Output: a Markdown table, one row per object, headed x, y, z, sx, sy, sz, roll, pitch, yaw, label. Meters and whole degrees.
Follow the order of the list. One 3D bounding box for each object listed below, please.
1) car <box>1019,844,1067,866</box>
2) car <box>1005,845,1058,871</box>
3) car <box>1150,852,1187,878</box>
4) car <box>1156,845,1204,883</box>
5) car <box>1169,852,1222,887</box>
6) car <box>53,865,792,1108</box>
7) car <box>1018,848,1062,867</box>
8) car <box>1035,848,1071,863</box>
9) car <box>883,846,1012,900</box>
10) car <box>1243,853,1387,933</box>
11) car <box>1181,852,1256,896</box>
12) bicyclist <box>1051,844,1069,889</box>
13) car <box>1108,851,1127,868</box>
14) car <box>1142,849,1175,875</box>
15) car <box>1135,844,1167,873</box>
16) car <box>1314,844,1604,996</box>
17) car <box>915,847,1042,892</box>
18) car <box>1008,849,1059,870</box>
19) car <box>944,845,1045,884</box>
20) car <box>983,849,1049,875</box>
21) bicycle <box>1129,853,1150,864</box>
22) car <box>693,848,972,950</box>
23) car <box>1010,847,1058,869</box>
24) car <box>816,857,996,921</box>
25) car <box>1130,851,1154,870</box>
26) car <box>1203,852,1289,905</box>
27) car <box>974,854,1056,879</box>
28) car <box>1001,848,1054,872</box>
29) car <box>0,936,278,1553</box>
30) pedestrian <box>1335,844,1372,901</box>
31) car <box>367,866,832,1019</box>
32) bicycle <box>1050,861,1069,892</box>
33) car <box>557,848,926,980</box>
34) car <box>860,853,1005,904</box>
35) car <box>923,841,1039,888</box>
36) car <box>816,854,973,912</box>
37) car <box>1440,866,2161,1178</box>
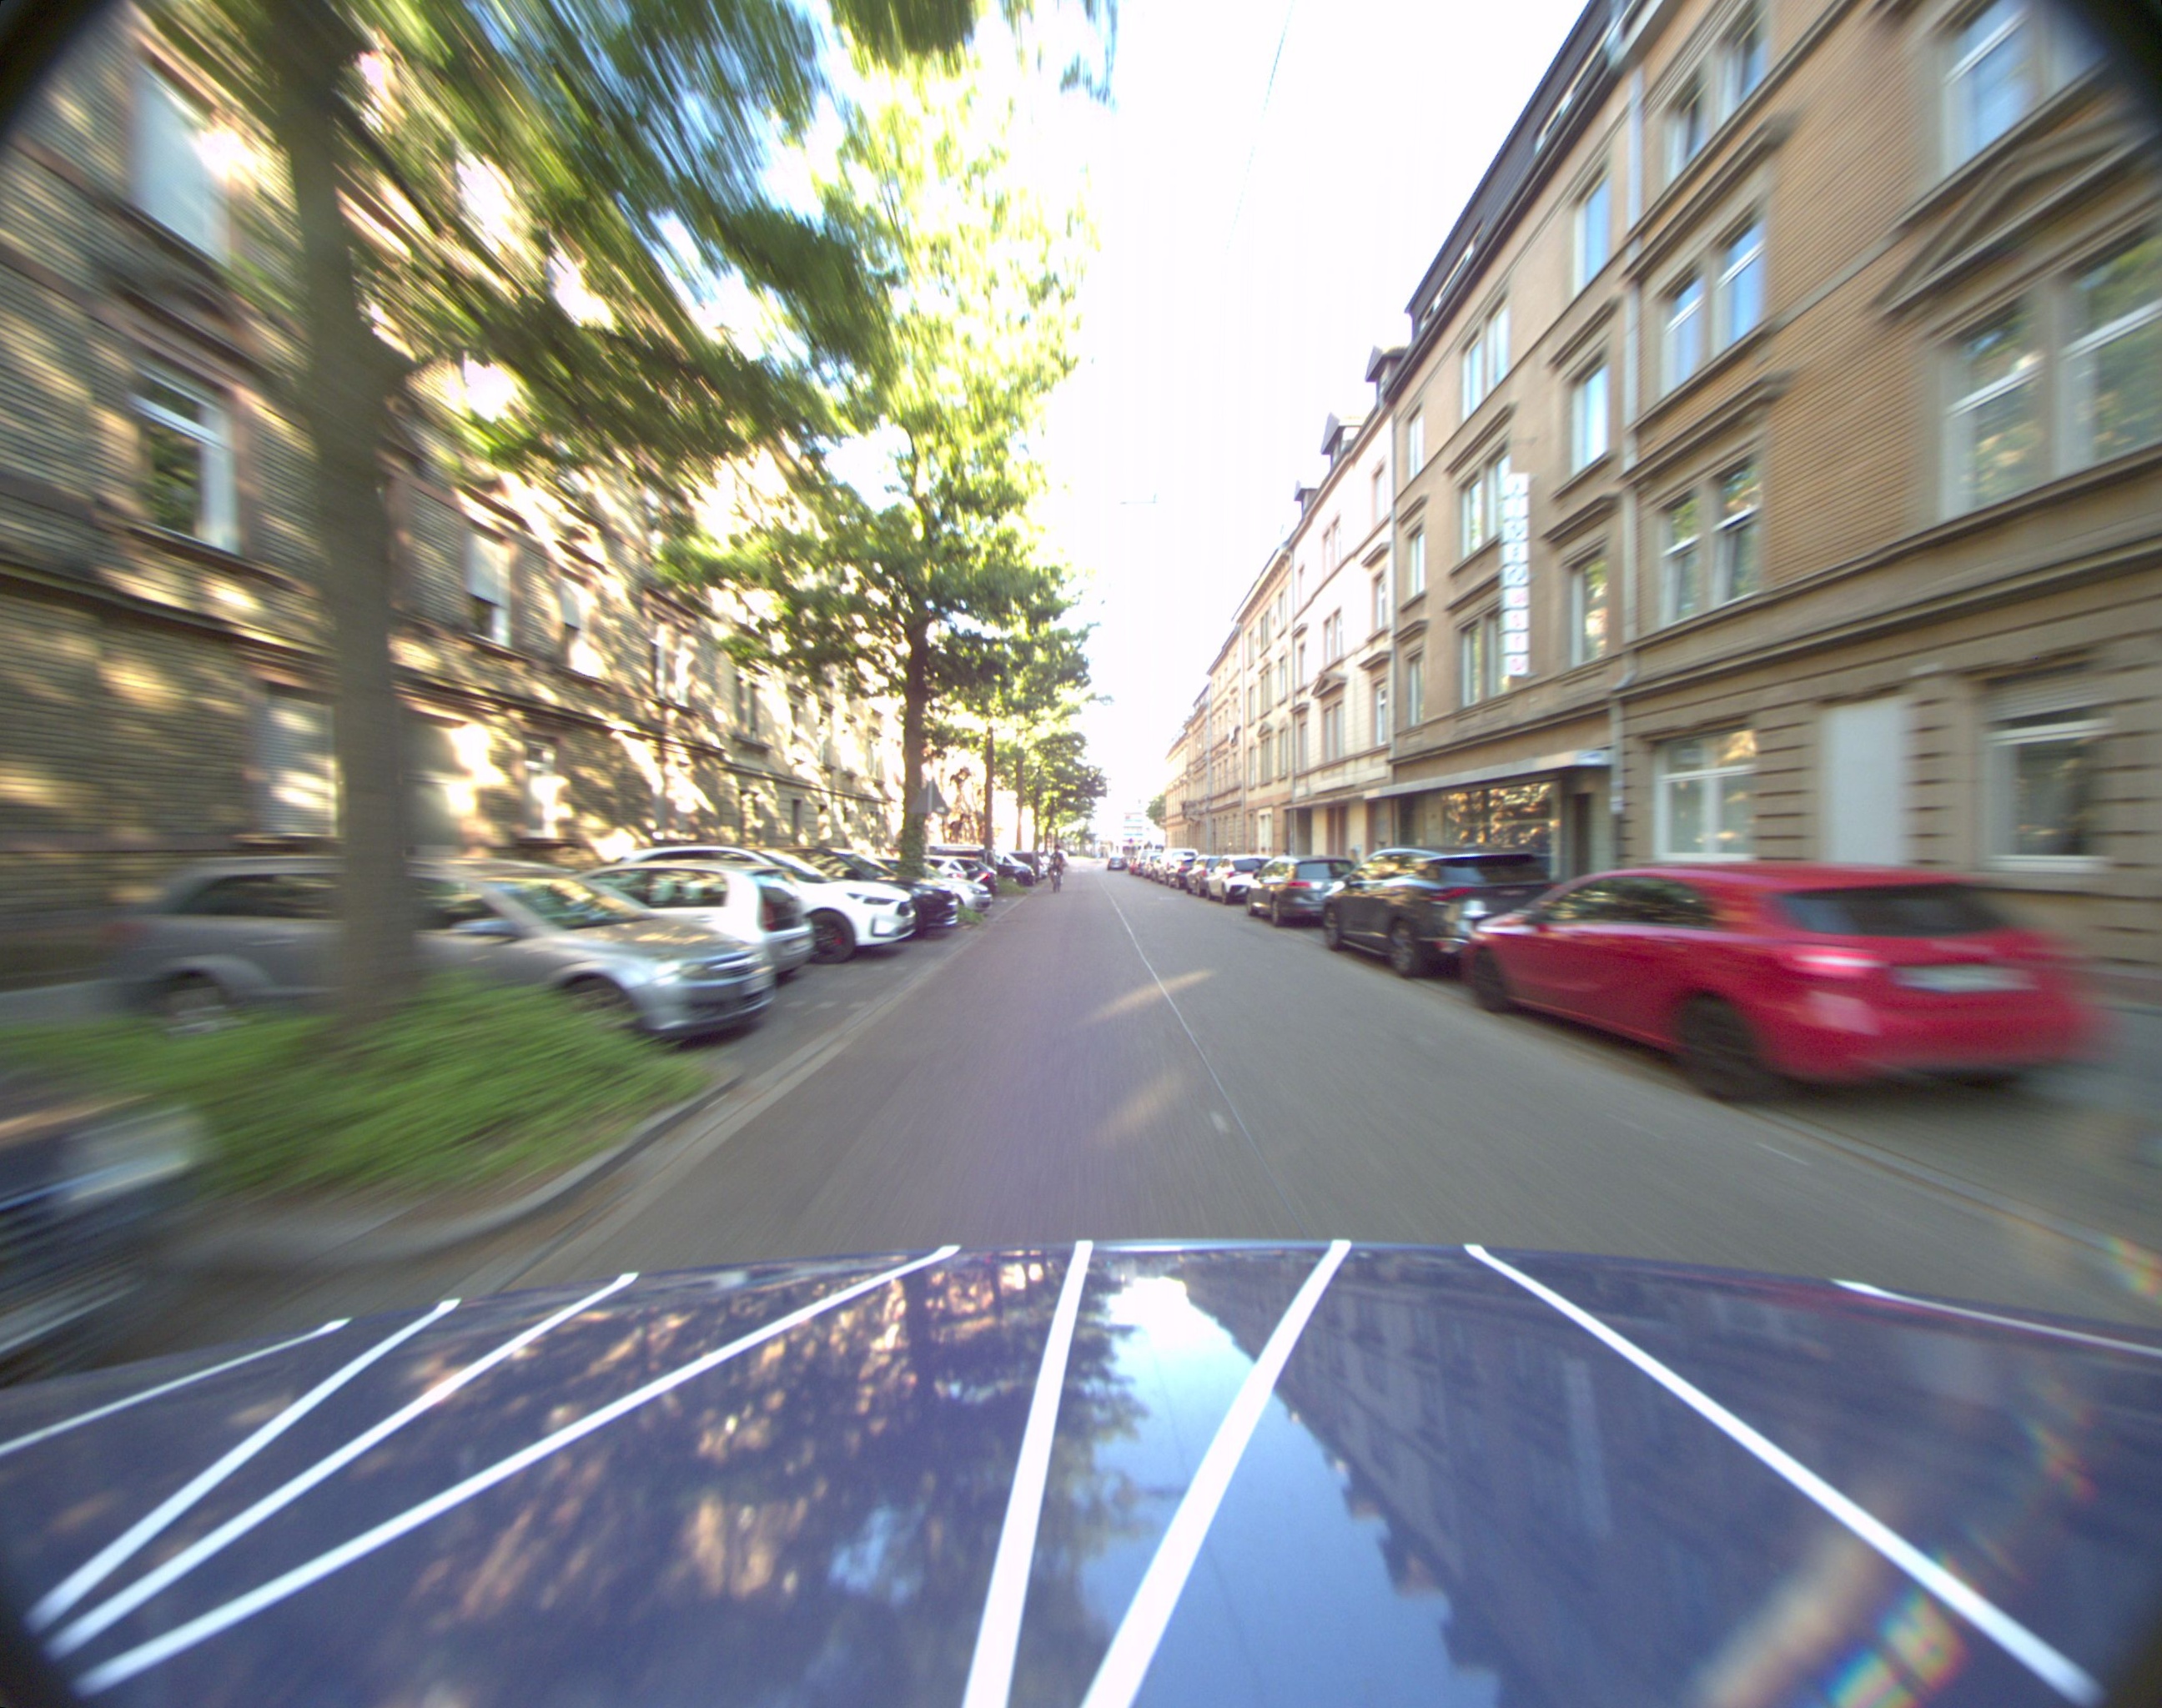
| x | y | z | sx | sy | sz | roll | pitch | yaw | label |
| --- | --- | --- | --- | --- | --- | --- | --- | --- | --- |
| -3.914 | 0.094 | 78.750 | 4.699 | 1.966 | 1.925 | 4 | 1 | 1 | car |
| -3.994 | 0.327 | 61.477 | 4.056 | 1.876 | 1.781 | 2 | 1 | 2 | car |
| 5.074 | 0.618 | 44.339 | 1.641 | 1.413 | 3.824 | -2 | 0 | -1 | car |
| 5.087 | 0.486 | 39.627 | 1.847 | 1.823 | 4.606 | -2 | 0 | -1 | car |
| 5.086 | 0.653 | 34.242 | 1.751 | 1.464 | 4.244 | -1 | 0 | 0 | car |
| -4.786 | 0.903 | 6.084 | 4.234 | 1.527 | 1.800 | -1 | 0 | -2 | car |
| -3.965 | 0.316 | 73.439 | 4.056 | 1.612 | 1.781 | 4 | 1 | 1 | car |
| -3.362 | 0.194 | 91.122 | 4.056 | 1.521 | 1.781 | 4 | 1 | 1 | car |
| -4.628 | 0.638 | 26.750 | 4.135 | 1.778 | 1.945 | -1 | 1 | 2 | car |
| 4.945 | 0.743 | 16.733 | 1.867 | 1.464 | 4.489 | -1 | 0 | 1 | car |
| 4.999 | 0.683 | 28.294 | 1.891 | 1.436 | 4.541 | -1 | 0 | -1 | car |
| -0.876 | 0.508 | 31.930 | 0.712 | 1.865 | 1.120 | 0 | 1 | 0 | bicyclist |
| 3.746 | 0.523 | 77.754 | 1.868 | 1.620 | 3.825 | -2 | 0 | 2 | car |
| 5.135 | 0.487 | 50.752 | 1.771 | 1.648 | 4.157 | -2 | 0 | 0 | car |
| 5.167 | 0.328 | 56.922 | 1.947 | 2.045 | 4.744 | -2 | 0 | 0 | car |
| 4.802 | 0.708 | 10.468 | 1.825 | 1.591 | 4.313 | -2 | 0 | 0 | car |
| -4.099 | 0.625 | 31.048 | 4.933 | 1.623 | 2.078 | 2 | 0 | -3 | car |
| -3.972 | 0.464 | 63.909 | 4.056 | 1.571 | 1.781 | 2 | 1 | 2 | car |
| -4.305 | 0.524 | 37.801 | 4.683 | 1.879 | 1.904 | 1 | 0 | -21 | car |
| -4.339 | 0.531 | 51.169 | 4.243 | 1.579 | 1.738 | 2 | 1 | -1 | car |
| 5.831 | 0.463 | 76.255 | 2.043 | 1.092 | 0.587 | -2 | 1 | 2 | bicycle |
| -4.439 | 0.778 | 14.072 | 4.486 | 1.647 | 1.891 | -1 | 2 | 2 | car |
| -4.249 | 0.348 | 68.778 | 4.056 | 1.612 | 1.781 | 4 | 1 | 1 | car |
| -4.221 | 0.828 | 18.749 | 3.997 | 1.448 | 1.687 | -1 | 1 | 1 | car |
| 4.962 | 0.521 | 62.455 | 1.641 | 1.482 | 3.825 | -2 | 0 | 0 | car |
| 5.046 | 0.698 | 23.739 | 1.761 | 1.464 | 4.087 | -1 | 0 | -1 | car |
| -3.737 | 0.704 | 43.713 | 4.468 | 1.360 | 1.903 | 1 | 0 | 2 | car |
| -4.142 | 0.446 | 59.029 | 3.843 | 1.673 | 1.739 | 2 | 1 | 2 | car |
| -4.561 | 0.916 | 1.567 | 3.997 | 1.380 | 1.677 | 2 | 1 | 0 | car |
| 7.984 | 0.515 | 22.259 | 0.697 | 1.622 | 1.018 | -1 | 1 | -1 | pedestrian |
| -5.206 | 0.923 | 8.621 | 4.110 | 1.461 | 1.801 | -1 | 0 | 2 | car |
| -0.891 | 0.915 | 31.888 | 0.712 | 1.252 | 1.887 | 0 | 1 | 0 | bicycle |
| -4.717 | 0.795 | 11.102 | 4.487 | 1.647 | 1.891 | -1 | 2 | -1 | car |
| -4.571 | 0.742 | 23.891 | 4.155 | 1.446 | 1.936 | 1 | 1 | -1 | car |
| -4.404 | 0.453 | 34.142 | 4.933 | 1.890 | 2.175 | 2 | 0 | -3 | car |
| -5.161 | 0.790 | 21.397 | 3.998 | 1.486 | 1.686 | -1 | 1 | -2 | car |
| 4.773 | 0.882 | 5.985 | 1.825 | 1.417 | 4.313 | -2 | 0 | 0 | car |
